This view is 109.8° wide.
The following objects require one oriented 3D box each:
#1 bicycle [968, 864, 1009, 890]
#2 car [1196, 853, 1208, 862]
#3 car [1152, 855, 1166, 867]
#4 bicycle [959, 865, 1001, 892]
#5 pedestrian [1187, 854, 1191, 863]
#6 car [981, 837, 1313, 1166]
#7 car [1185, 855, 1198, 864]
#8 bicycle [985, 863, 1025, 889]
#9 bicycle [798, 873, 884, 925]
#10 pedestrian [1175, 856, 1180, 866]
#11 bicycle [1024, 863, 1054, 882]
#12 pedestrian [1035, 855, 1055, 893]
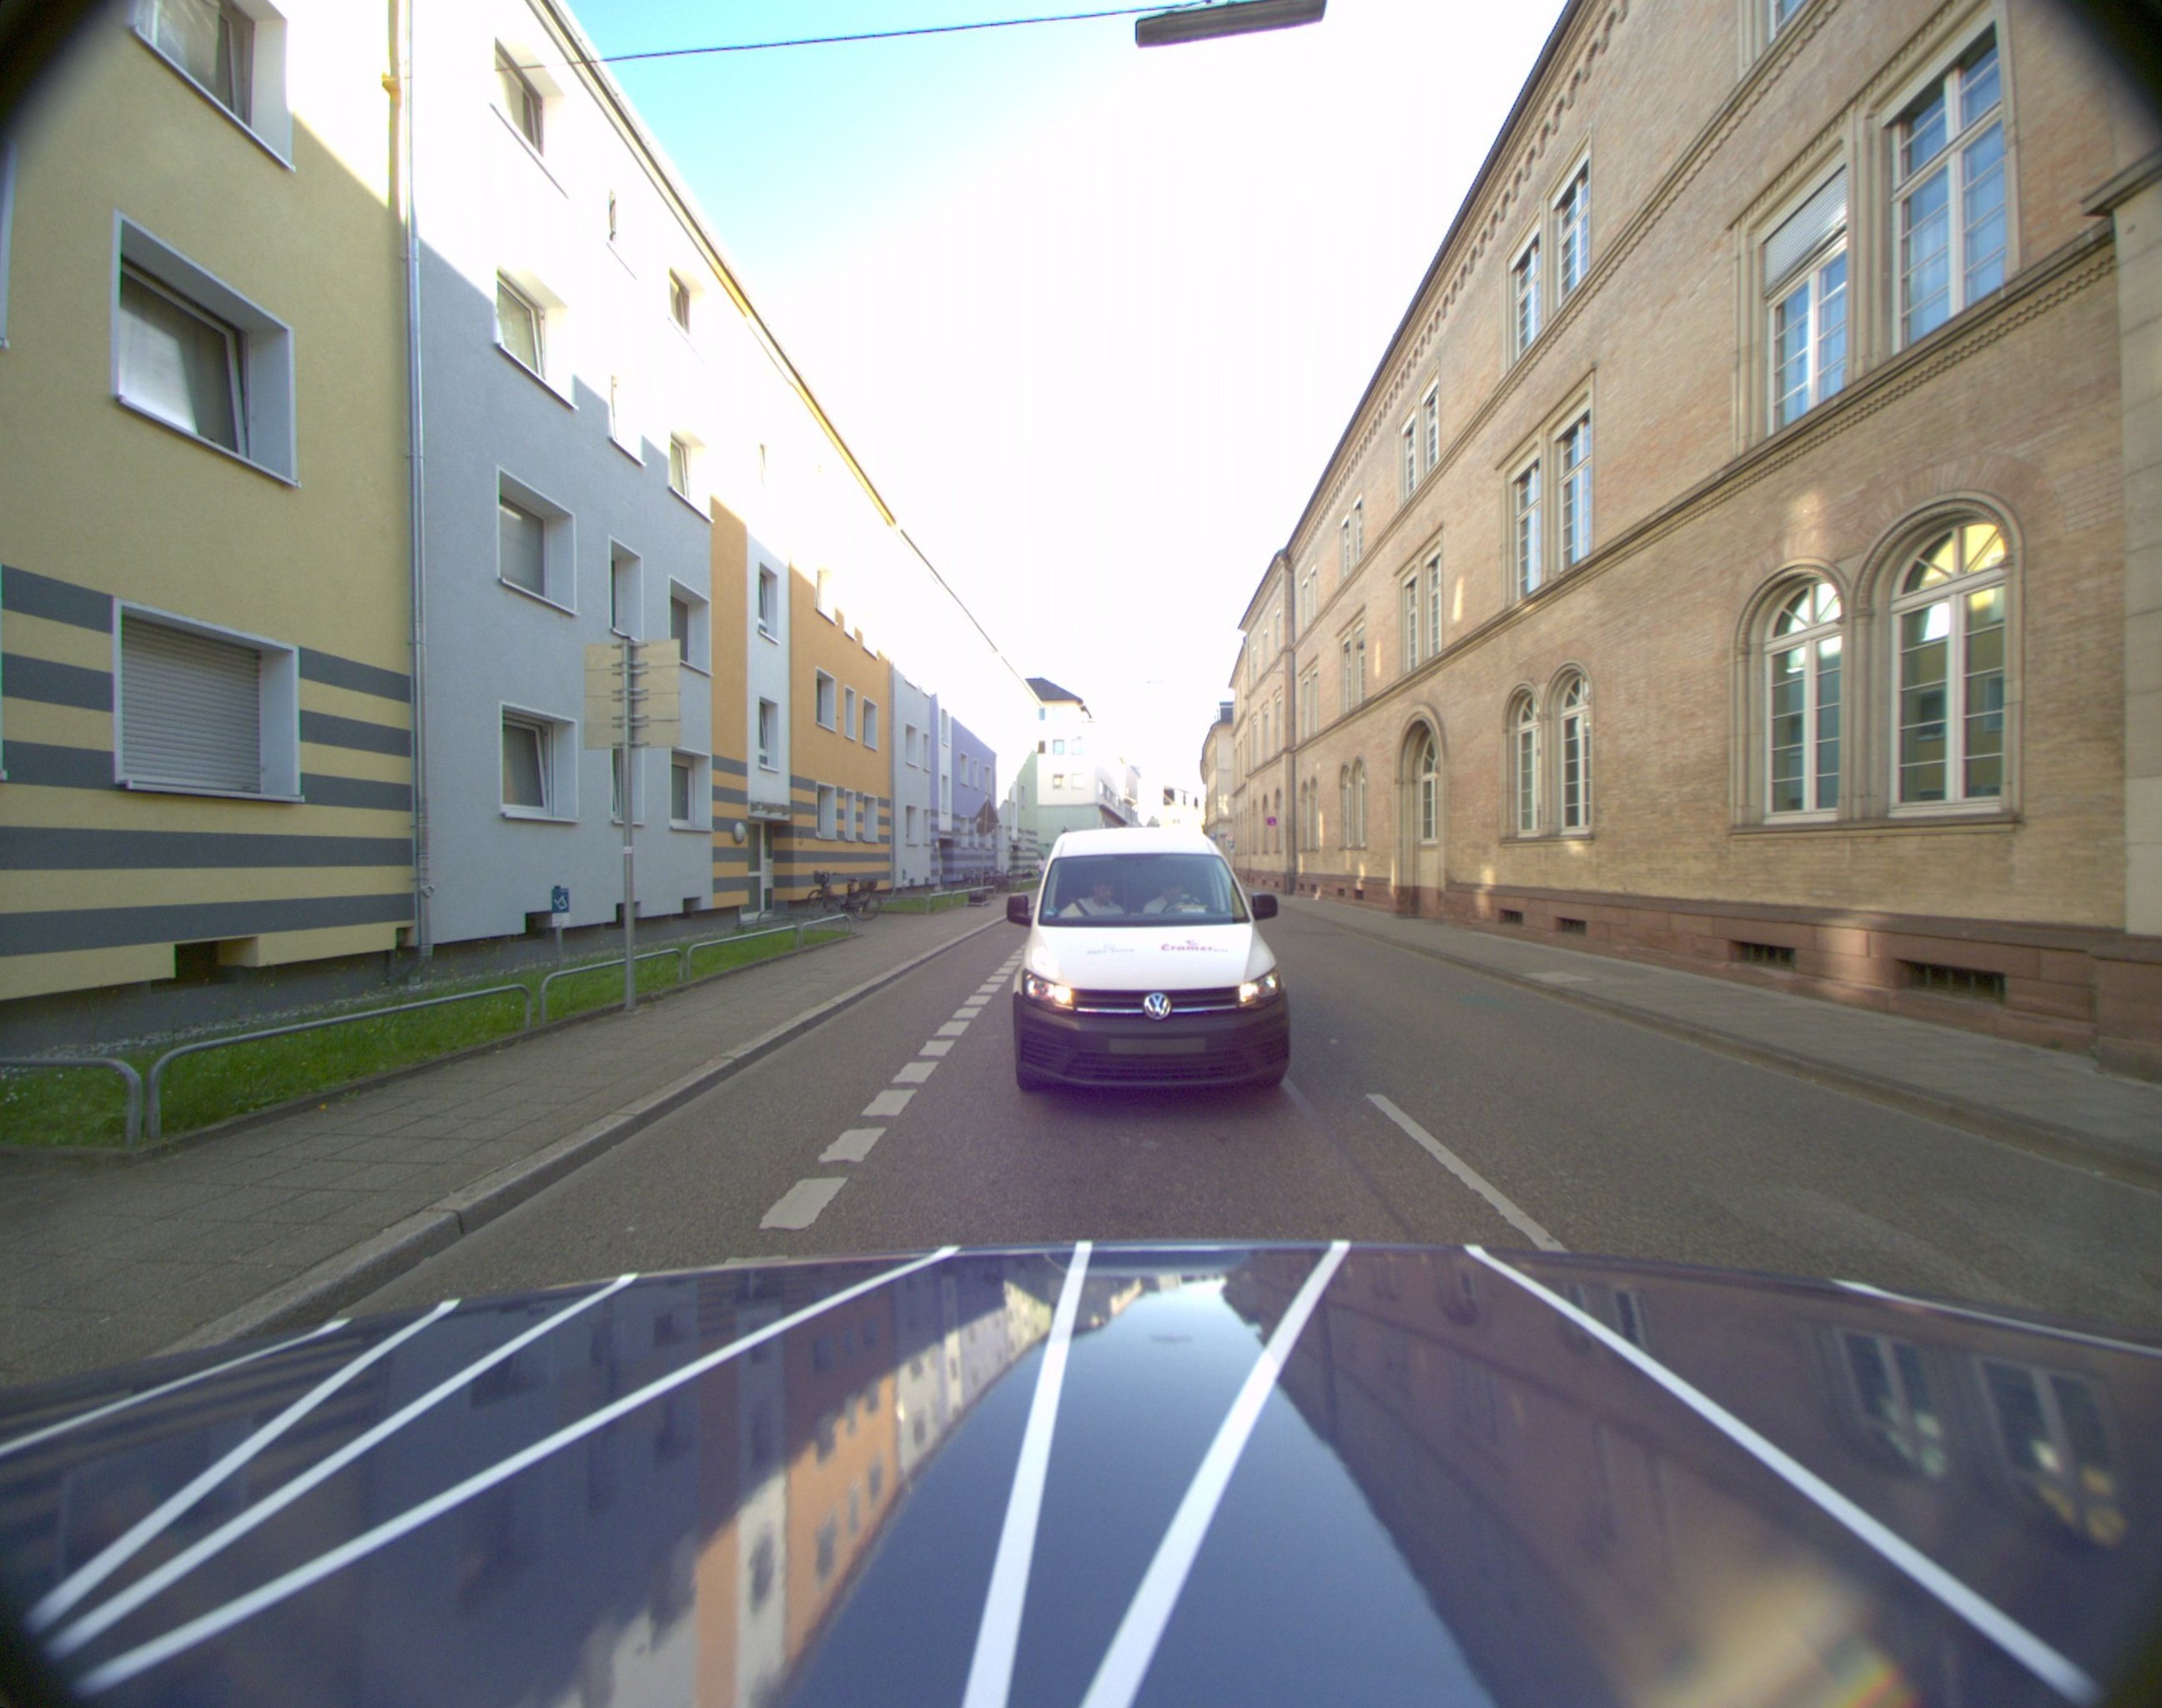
[{"bbox_3d":[-4.032,0.996,33.130,1.676,1.145,0.484,0,0,4],"label":"bicycle"},{"bbox_3d":[26.097,0.728,163.747,1.996,1.643,4.233,-2,1,17],"label":"car"},{"bbox_3d":[12.650,1.135,122.695,1.997,1.643,4.231,-2,1,9],"label":"car"},{"bbox_3d":[-4.236,1.024,31.837,1.676,1.145,0.484,0,0,4],"label":"bicycle"},{"bbox_3d":[19.926,0.780,140.200,0.704,1.627,0.833,3,2,14],"label":"pedestrian"},{"bbox_3d":[0.393,0.766,6.746,1.769,1.761,5.331,-1,1,1],"label":"car"},{"bbox_3d":[22.113,1.017,152.016,1.996,1.643,4.233,-2,1,17],"label":"car"},{"bbox_3d":[-3.373,0.979,33.676,1.676,1.145,0.484,0,0,4],"label":"bicycle"},{"bbox_3d":[-5.386,0.996,17.100,1.780,1.116,0.484,0,0,-5],"label":"bicycle"},{"bbox_3d":[15.833,1.120,124.337,0.705,1.627,0.833,3,2,12],"label":"pedestrian"},{"bbox_3d":[-2.516,1.125,46.047,1.779,1.145,0.484,0,0,0],"label":"bicycle"},{"bbox_3d":[-1.609,0.872,33.888,0.705,1.627,0.833,2,2,5],"label":"pedestrian"}]
